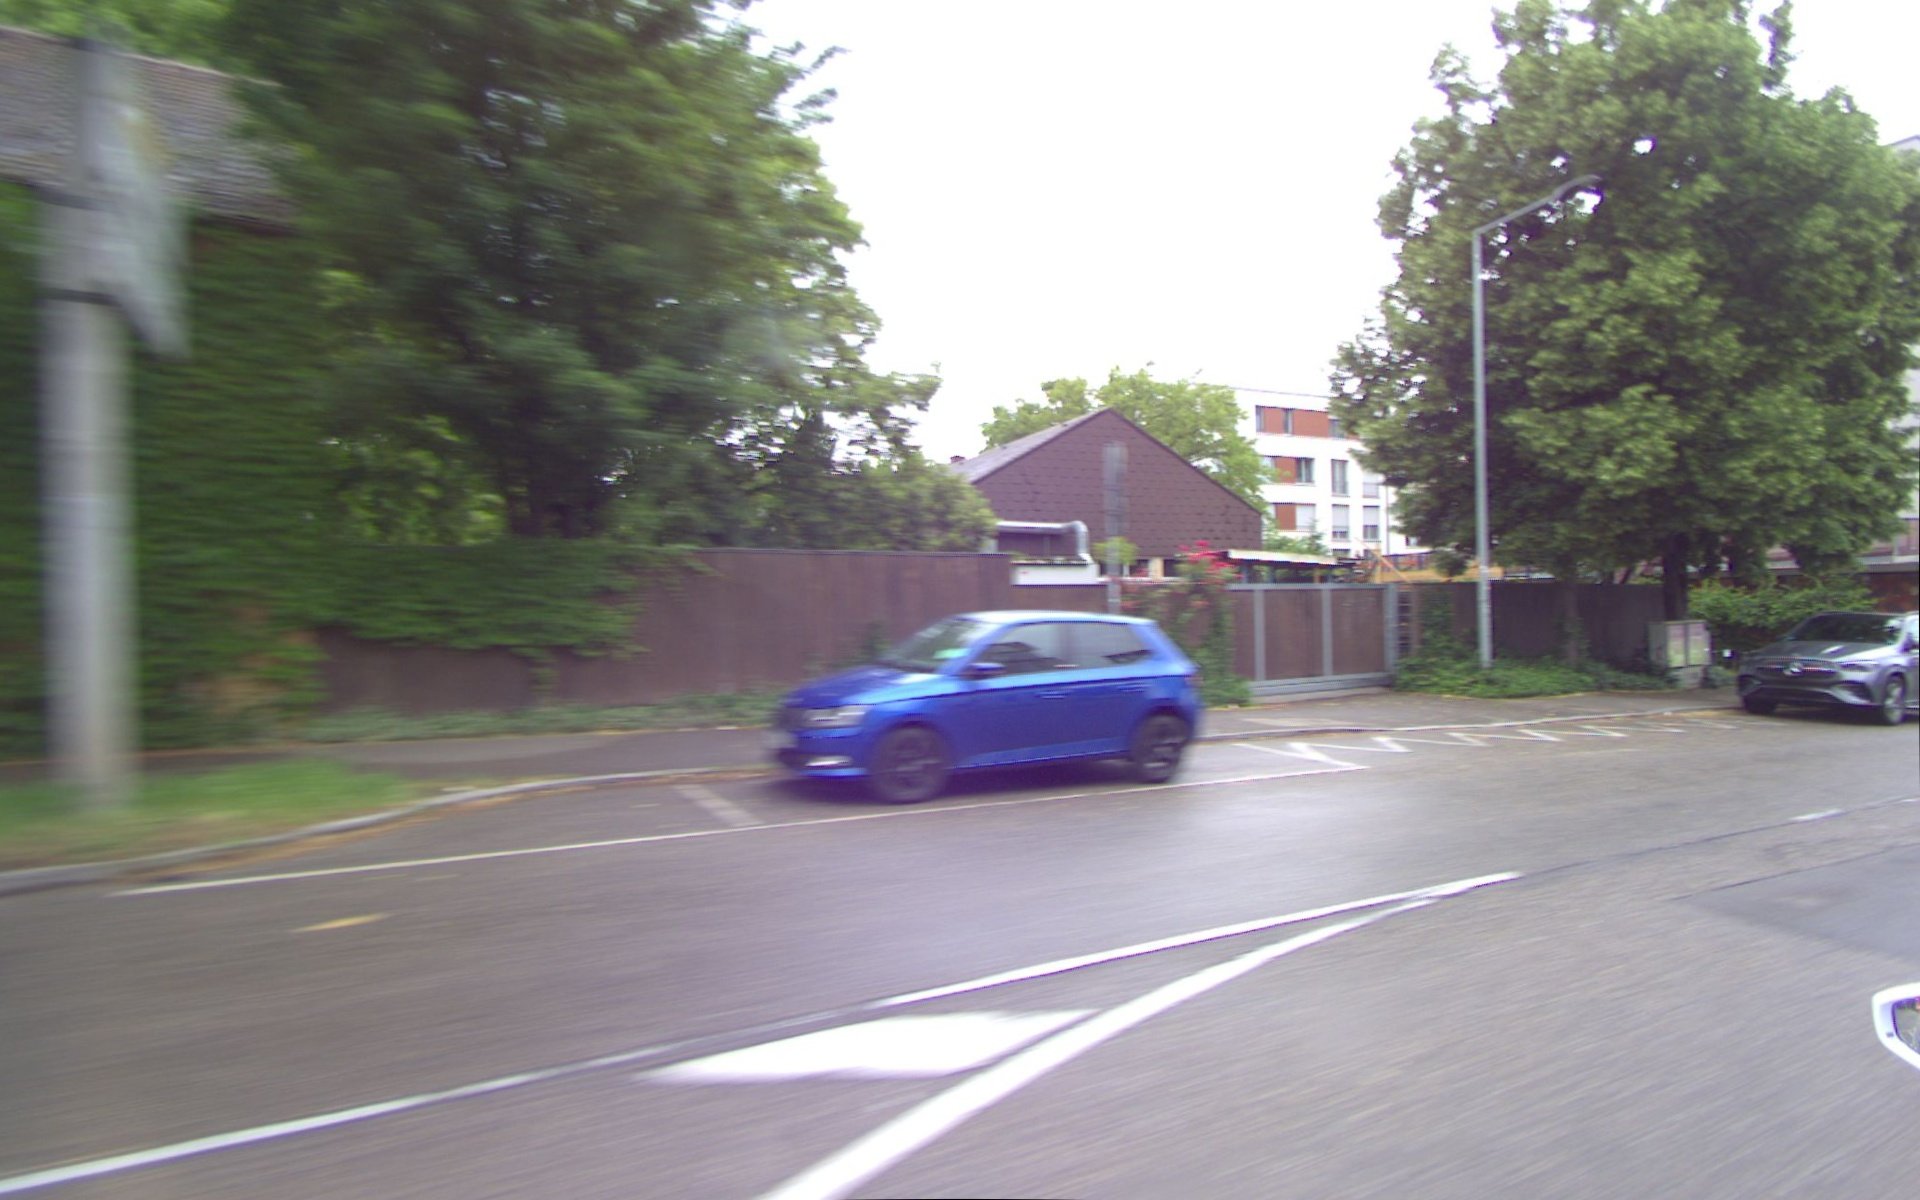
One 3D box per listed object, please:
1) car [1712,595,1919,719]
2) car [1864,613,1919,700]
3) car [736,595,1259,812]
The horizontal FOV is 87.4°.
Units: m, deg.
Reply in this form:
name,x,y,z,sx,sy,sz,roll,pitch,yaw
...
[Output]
name,x,y,z,sx,sy,sz,roll,pitch,yaw
car,15.223,0.906,16.847,5.340,1.810,1.986,2,0,-27
car,20.125,1.138,19.813,4.433,1.614,1.982,2,0,-27
car,0.351,0.770,8.783,4.133,1.489,1.986,2,0,-28
